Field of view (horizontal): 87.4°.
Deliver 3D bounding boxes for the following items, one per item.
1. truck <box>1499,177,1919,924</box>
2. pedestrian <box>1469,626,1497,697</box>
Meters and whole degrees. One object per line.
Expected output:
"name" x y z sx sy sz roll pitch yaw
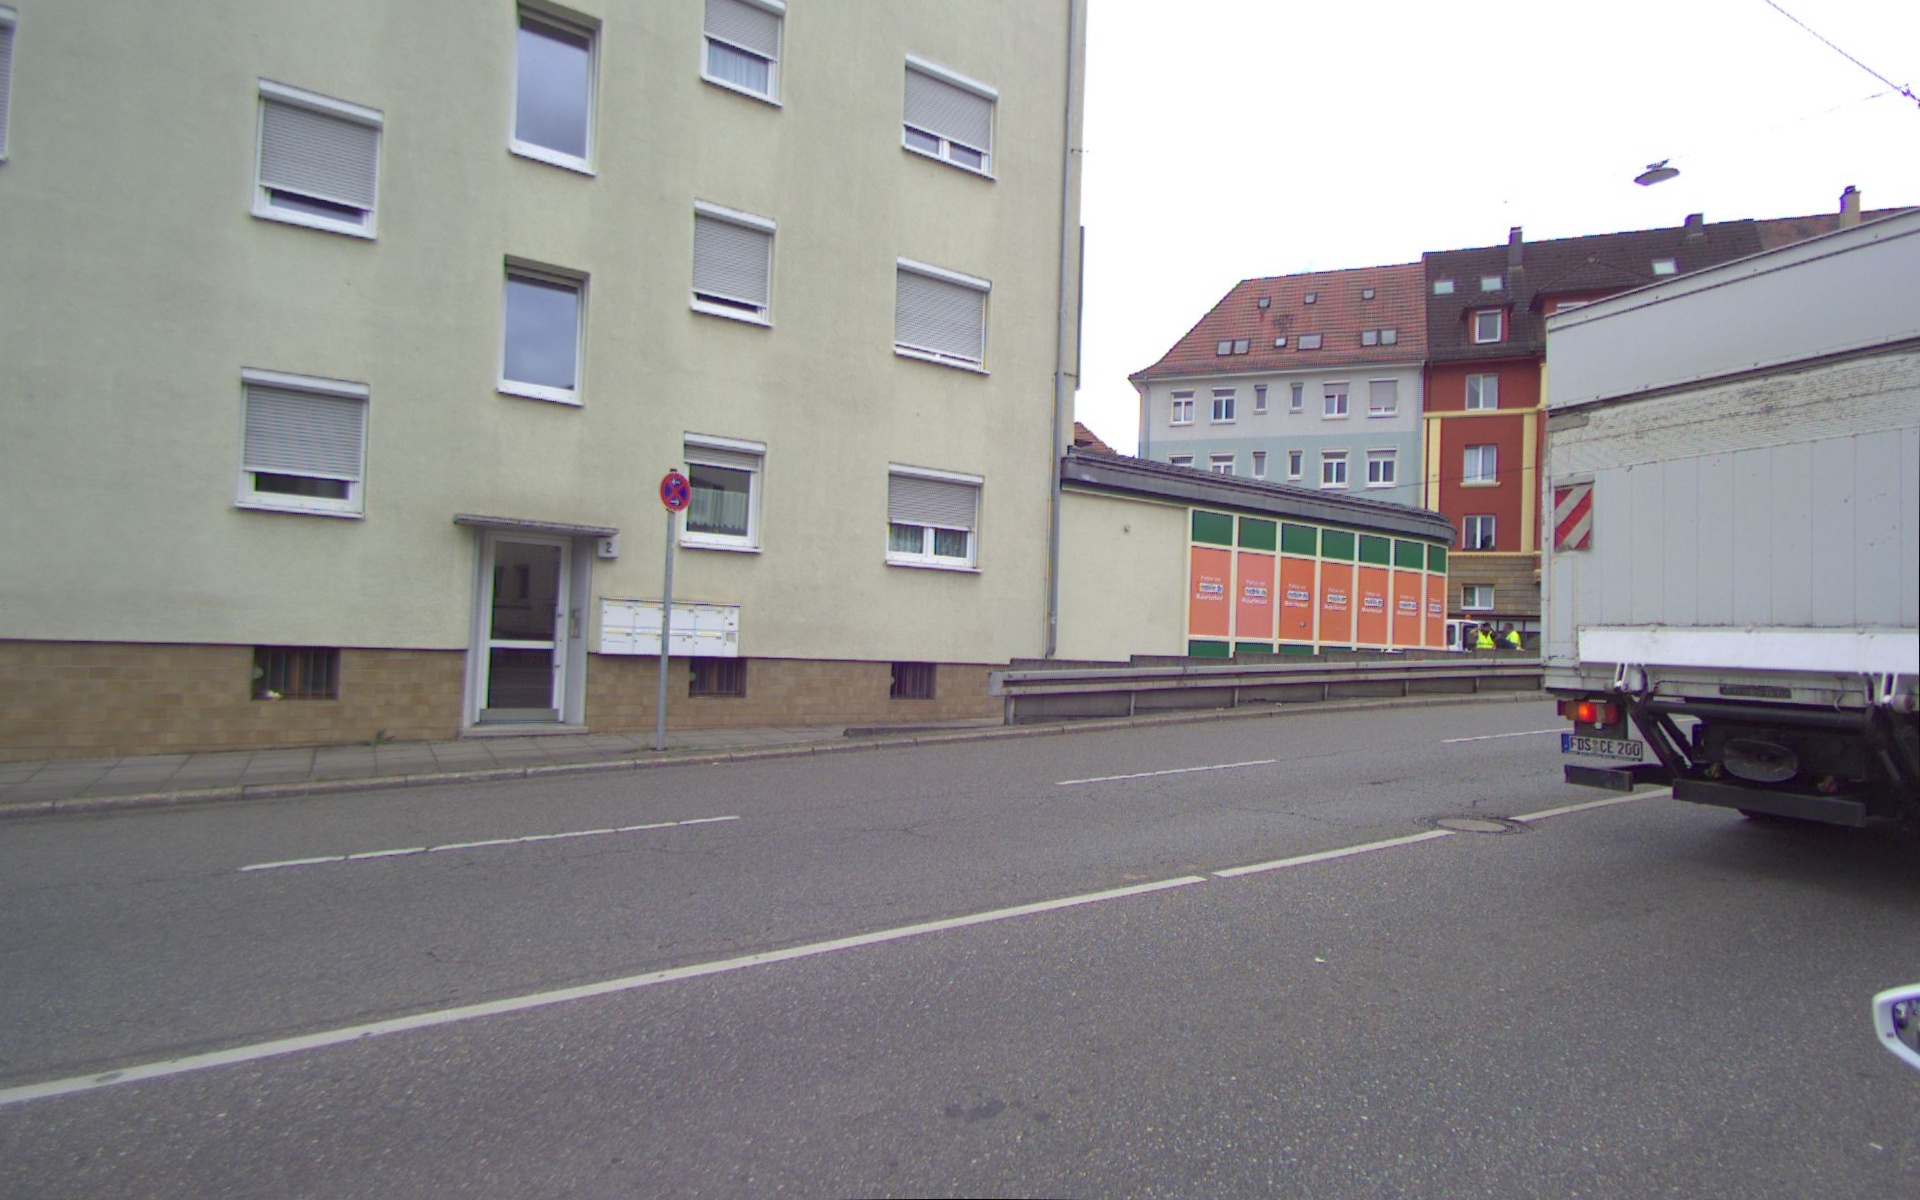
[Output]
"truck" 7.870 -0.194 7.375 7.956 3.623 2.760 1 0 -26
"pedestrian" 13.451 1.569 25.831 0.467 1.753 0.543 2 1 14
